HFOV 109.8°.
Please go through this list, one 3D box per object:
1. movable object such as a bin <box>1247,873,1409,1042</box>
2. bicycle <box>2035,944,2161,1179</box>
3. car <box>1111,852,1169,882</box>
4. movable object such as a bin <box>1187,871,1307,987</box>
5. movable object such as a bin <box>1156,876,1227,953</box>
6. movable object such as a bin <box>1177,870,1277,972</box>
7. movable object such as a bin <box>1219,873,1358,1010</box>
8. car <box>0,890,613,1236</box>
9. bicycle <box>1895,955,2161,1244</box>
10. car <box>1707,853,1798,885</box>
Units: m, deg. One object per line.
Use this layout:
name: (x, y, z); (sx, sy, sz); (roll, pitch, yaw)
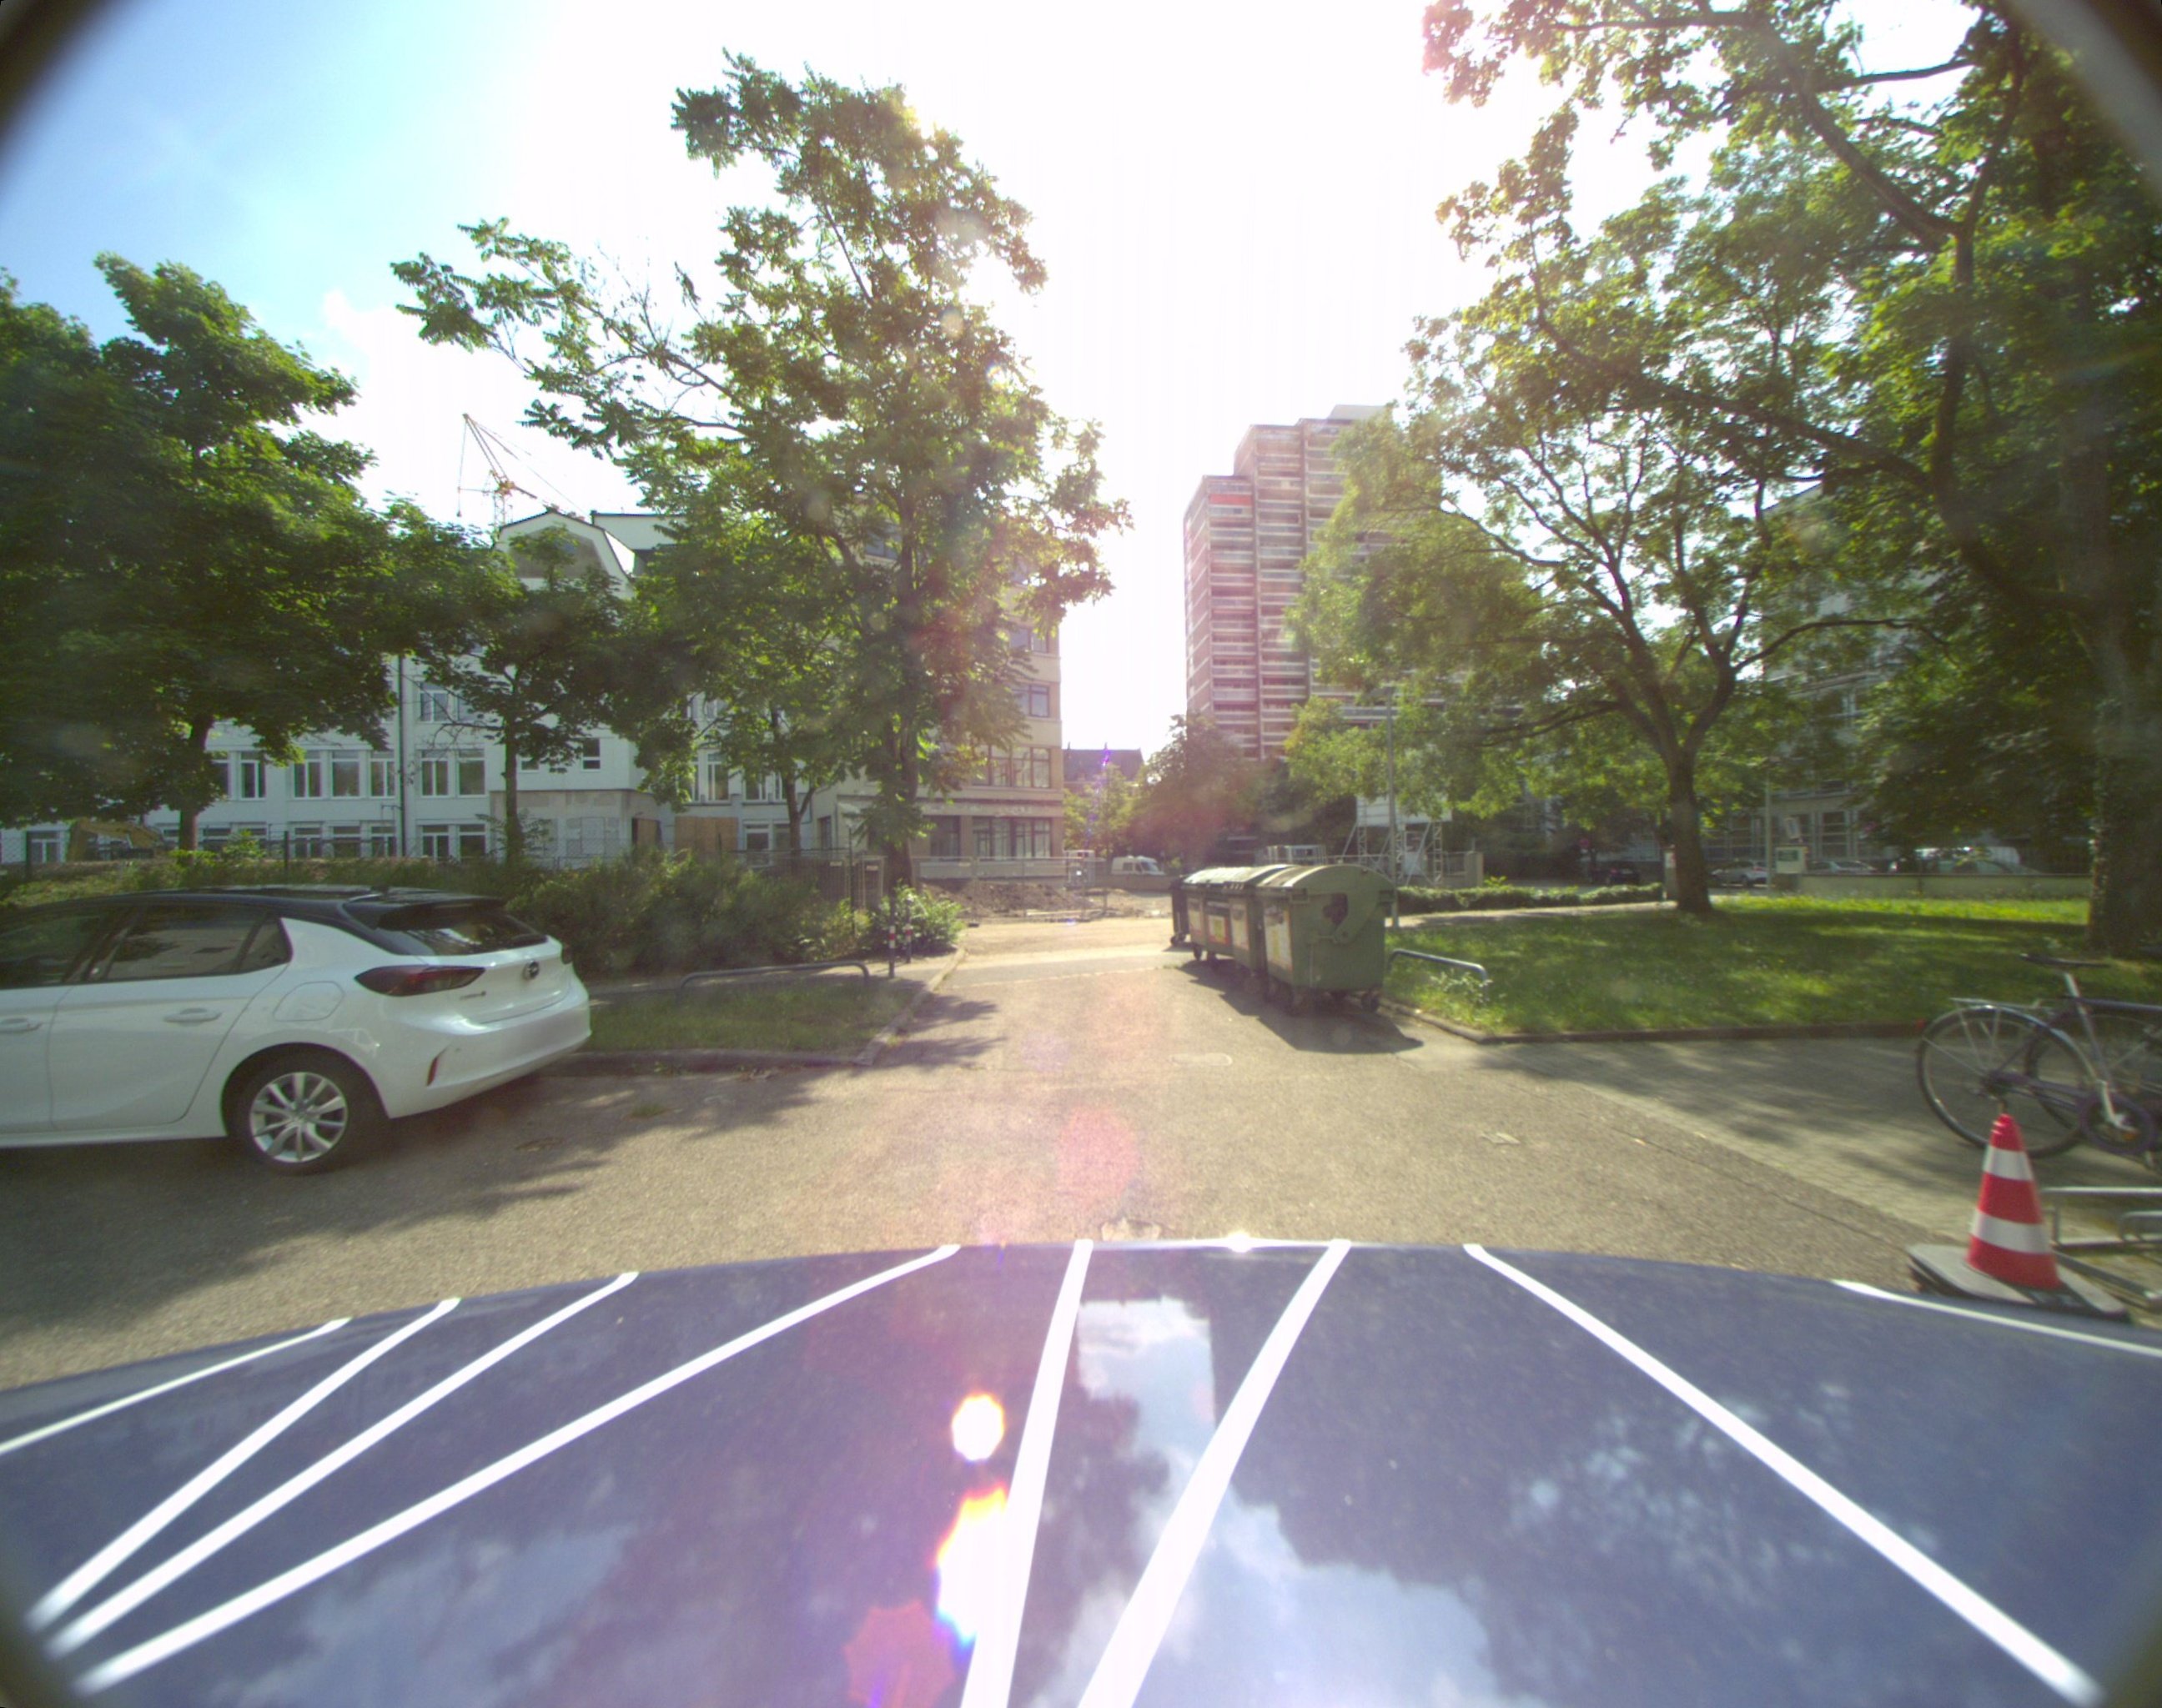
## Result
movable object such as a bin: (2.429, 0.970, 7.676); (1.102, 1.443, 1.342); (-3, 1, -2)
bicycle: (5.277, 1.023, 3.100); (0.320, 1.031, 1.858); (-3, 2, -5)
car: (4.676, 1.018, 61.265); (2.003, 2.003, 5.293); (-2, 4, -30)
movable object such as a bin: (2.291, 0.994, 10.656); (1.103, 1.443, 1.232); (-4, 0, -16)
movable object such as a bin: (2.302, 1.213, 15.677); (1.247, 1.473, 1.298); (-1, 0, 16)
movable object such as a bin: (2.259, 1.022, 11.969); (1.103, 1.442, 1.343); (-3, -2, -7)
movable object such as a bin: (2.430, 0.992, 9.112); (1.227, 1.443, 1.283); (-3, 0, -1)
car: (-5.187, 1.017, 4.283); (3.916, 1.412, 1.757); (-1, 2, -8)
bicycle: (4.603, 1.090, 3.153); (0.320, 1.031, 1.858); (-3, 2, -5)
car: (36.309, 0.756, 41.237); (1.780, 1.456, 4.238); (3, 2, 12)
